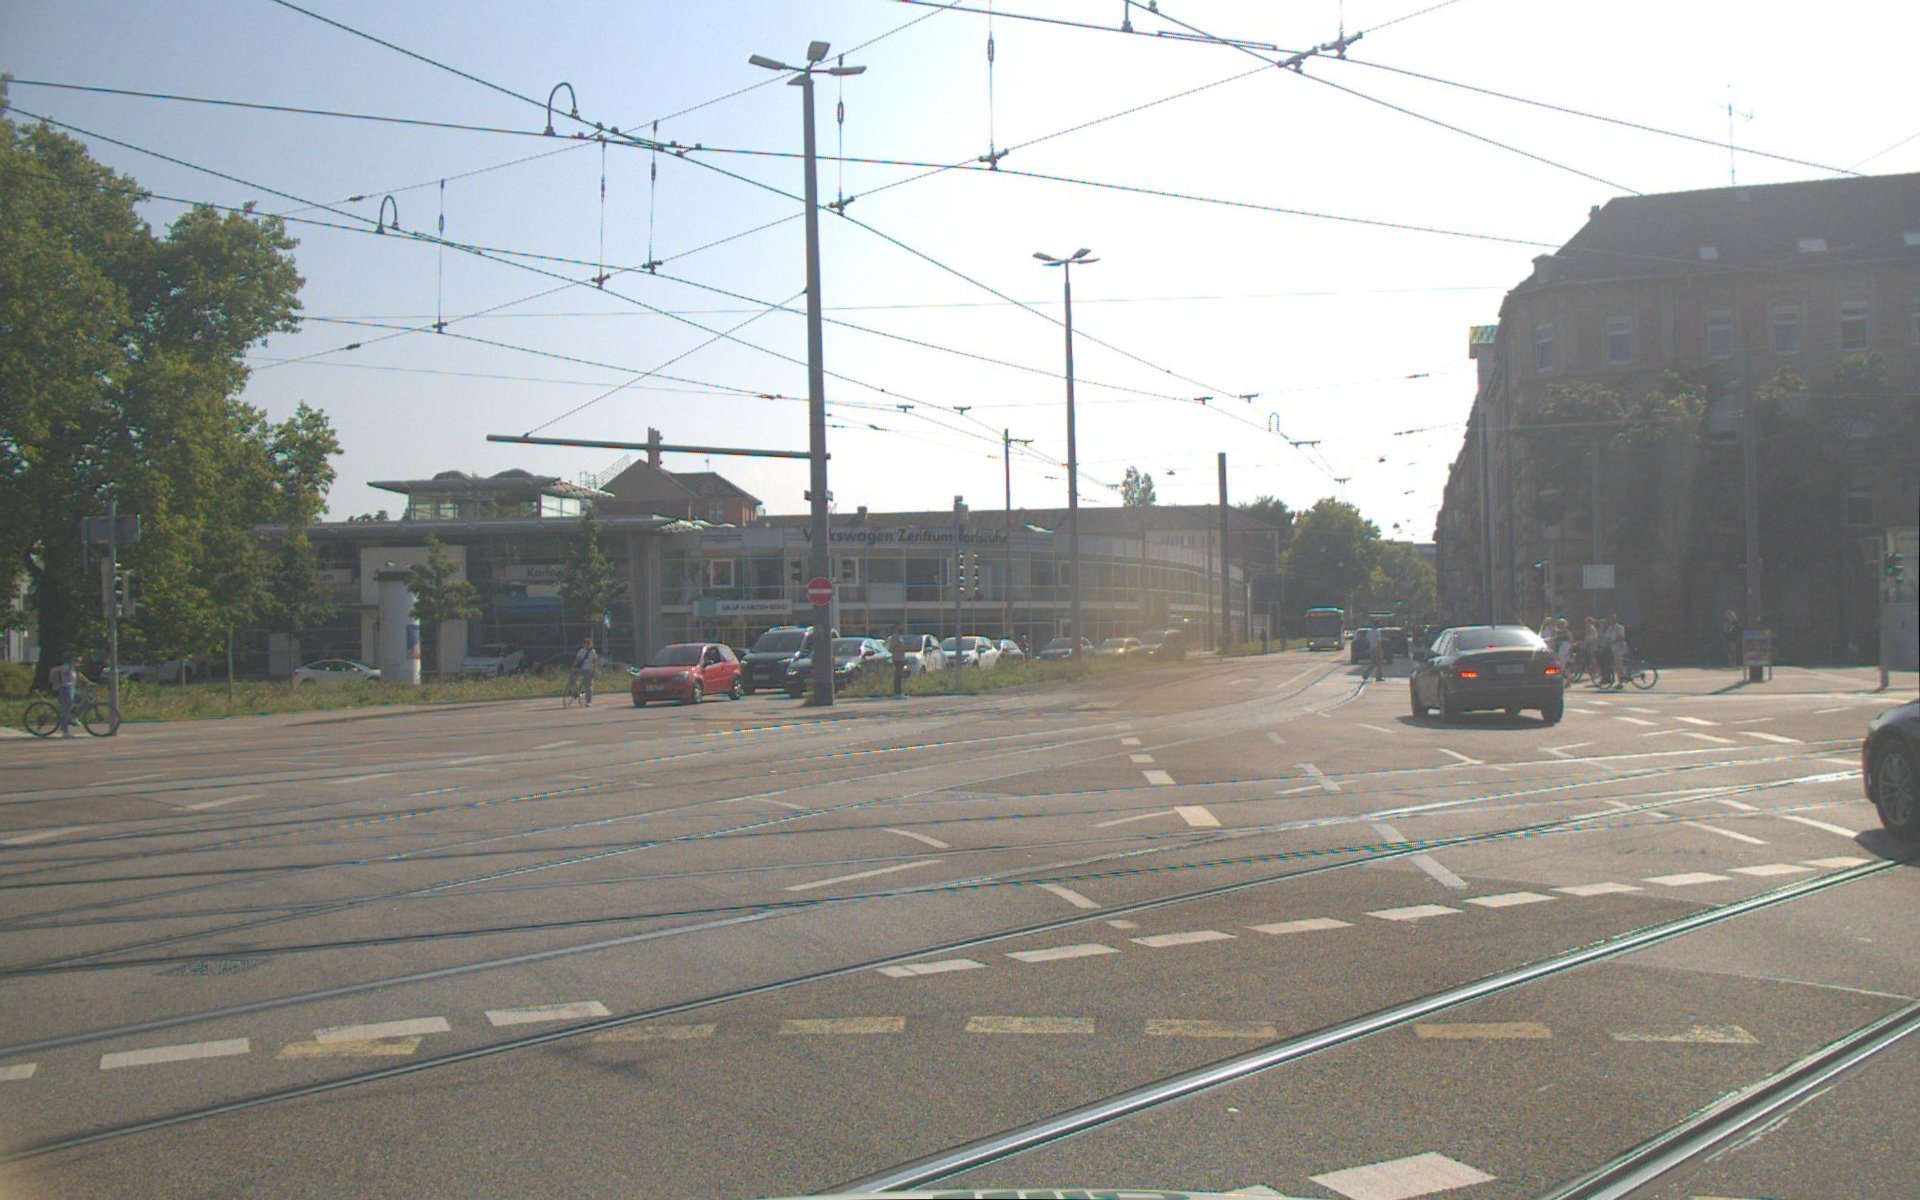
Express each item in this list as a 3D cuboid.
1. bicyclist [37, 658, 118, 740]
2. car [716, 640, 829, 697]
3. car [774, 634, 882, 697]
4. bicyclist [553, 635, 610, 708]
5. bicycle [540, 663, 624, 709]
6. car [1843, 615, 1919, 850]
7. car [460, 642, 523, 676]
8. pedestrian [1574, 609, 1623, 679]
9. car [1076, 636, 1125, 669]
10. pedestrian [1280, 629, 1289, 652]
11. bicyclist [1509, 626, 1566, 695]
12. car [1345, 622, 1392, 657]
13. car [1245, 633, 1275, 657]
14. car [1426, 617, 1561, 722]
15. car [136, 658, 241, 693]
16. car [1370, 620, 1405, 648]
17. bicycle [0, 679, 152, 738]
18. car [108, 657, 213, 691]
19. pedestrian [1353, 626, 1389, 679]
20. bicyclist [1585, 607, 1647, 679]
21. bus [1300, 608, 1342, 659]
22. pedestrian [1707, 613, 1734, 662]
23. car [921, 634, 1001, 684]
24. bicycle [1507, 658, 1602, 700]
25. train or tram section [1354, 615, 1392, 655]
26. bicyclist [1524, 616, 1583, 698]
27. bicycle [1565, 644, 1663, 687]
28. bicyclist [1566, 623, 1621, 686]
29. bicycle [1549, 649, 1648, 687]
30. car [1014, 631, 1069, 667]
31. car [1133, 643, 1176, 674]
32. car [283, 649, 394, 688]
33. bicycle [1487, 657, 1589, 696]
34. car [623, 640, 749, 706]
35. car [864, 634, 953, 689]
[{"bbox_3d":[-17.113,1.918,32.098,1.143,1.554,0.957,1,-2,-15],"label":"bicyclist"},{"bbox_3d":[-5.428,1.963,48.359,1.919,1.501,4.003,-3,-2,14],"label":"car"},{"bbox_3d":[-3.405,1.679,43.370,1.580,1.501,4.003,-3,-2,14],"label":"car"},{"bbox_3d":[-9.483,1.780,41.471,0.937,1.779,1.167,-1,-2,15],"label":"bicyclist"},{"bbox_3d":[-9.463,2.143,41.525,0.937,1.075,2.610,-1,-2,15],"label":"bicycle"},{"bbox_3d":[6.929,0.827,9.288,1.647,1.518,4.674,0,-1,3],"label":"car"},{"bbox_3d":[-22.662,2.840,80.122,1.664,1.549,4.101,-1,-1,4],"label":"car"},{"bbox_3d":[16.900,1.165,43.747,0.920,1.829,0.847,0,-2,-42],"label":"pedestrian"},{"bbox_3d":[6.905,2.568,81.001,1.580,1.501,4.002,-3,-2,15],"label":"car"},{"bbox_3d":[23.332,2.917,118.922,0.582,1.659,0.637,-1,-2,16],"label":"pedestrian"},{"bbox_3d":[15.625,1.625,44.761,0.922,1.831,1.084,0,-2,-24],"label":"bicyclist"},{"bbox_3d":[18.155,1.736,73.378,1.787,1.453,4.414,-2,-1,16],"label":"car"},{"bbox_3d":[19.936,2.969,109.811,1.580,1.501,4.002,-3,-2,15],"label":"car"},{"bbox_3d":[8.246,1.049,25.847,1.647,1.468,4.375,-2,-2,14],"label":"car"},{"bbox_3d":[-37.489,3.647,80.459,1.668,1.549,4.505,-2,-2,30],"label":"car"},{"bbox_3d":[23.584,1.872,91.383,1.786,1.453,4.415,-2,-1,14],"label":"car"},{"bbox_3d":[-17.200,2.104,32.066,2.556,1.076,0.957,2,-3,-15],"label":"bicycle"},{"bbox_3d":[-39.441,3.643,81.686,1.668,1.549,4.505,-2,-2,30],"label":"car"},{"bbox_3d":[12.059,1.545,48.559,0.764,1.530,0.707,-1,-1,-14],"label":"pedestrian"},{"bbox_3d":[16.182,1.055,40.823,0.927,1.738,1.078,0,-2,-38],"label":"bicyclist"},{"bbox_3d":[28.093,2.661,129.351,2.858,3.682,16.759,-1,-1,11],"label":"bus"},{"bbox_3d":[23.362,1.145,50.793,0.537,1.496,0.663,-3,-2,45],"label":"pedestrian"},{"bbox_3d":[0.074,1.933,55.001,1.580,1.501,4.002,-3,-2,15],"label":"car"},{"bbox_3d":[15.281,2.006,42.481,2.600,0.981,1.078,0,-2,-38],"label":"bicycle"},{"bbox_3d":[40.605,3.431,162.892,2.598,3.764,10.597,-2,-1,9],"label":"train or tram section"},{"bbox_3d":[15.235,1.452,42.470,0.927,2.060,1.078,0,-2,-38],"label":"bicyclist"},{"bbox_3d":[16.139,1.602,40.772,2.600,0.981,1.078,0,-2,-38],"label":"bicycle"},{"bbox_3d":[17.717,1.525,46.284,0.922,1.709,1.085,0,-2,-24],"label":"bicyclist"},{"bbox_3d":[17.894,1.898,46.363,2.584,0.981,1.084,0,-1,-25],"label":"bicycle"},{"bbox_3d":[3.671,2.182,73.864,1.580,1.501,4.002,-3,-2,15],"label":"car"},{"bbox_3d":[10.236,3.060,86.855,1.580,1.501,4.002,-3,-2,15],"label":"car"},{"bbox_3d":[-26.187,2.882,69.759,4.000,1.549,1.706,-1,-2,4],"label":"car"},{"bbox_3d":[15.645,2.054,44.760,2.584,0.981,1.084,0,-1,-25],"label":"bicycle"},{"bbox_3d":[-6.768,1.789,41.270,1.580,1.501,4.003,-3,-2,14],"label":"car"},{"bbox_3d":[-1.506,1.822,49.787,1.580,1.501,4.003,-3,-2,14],"label":"car"}]
